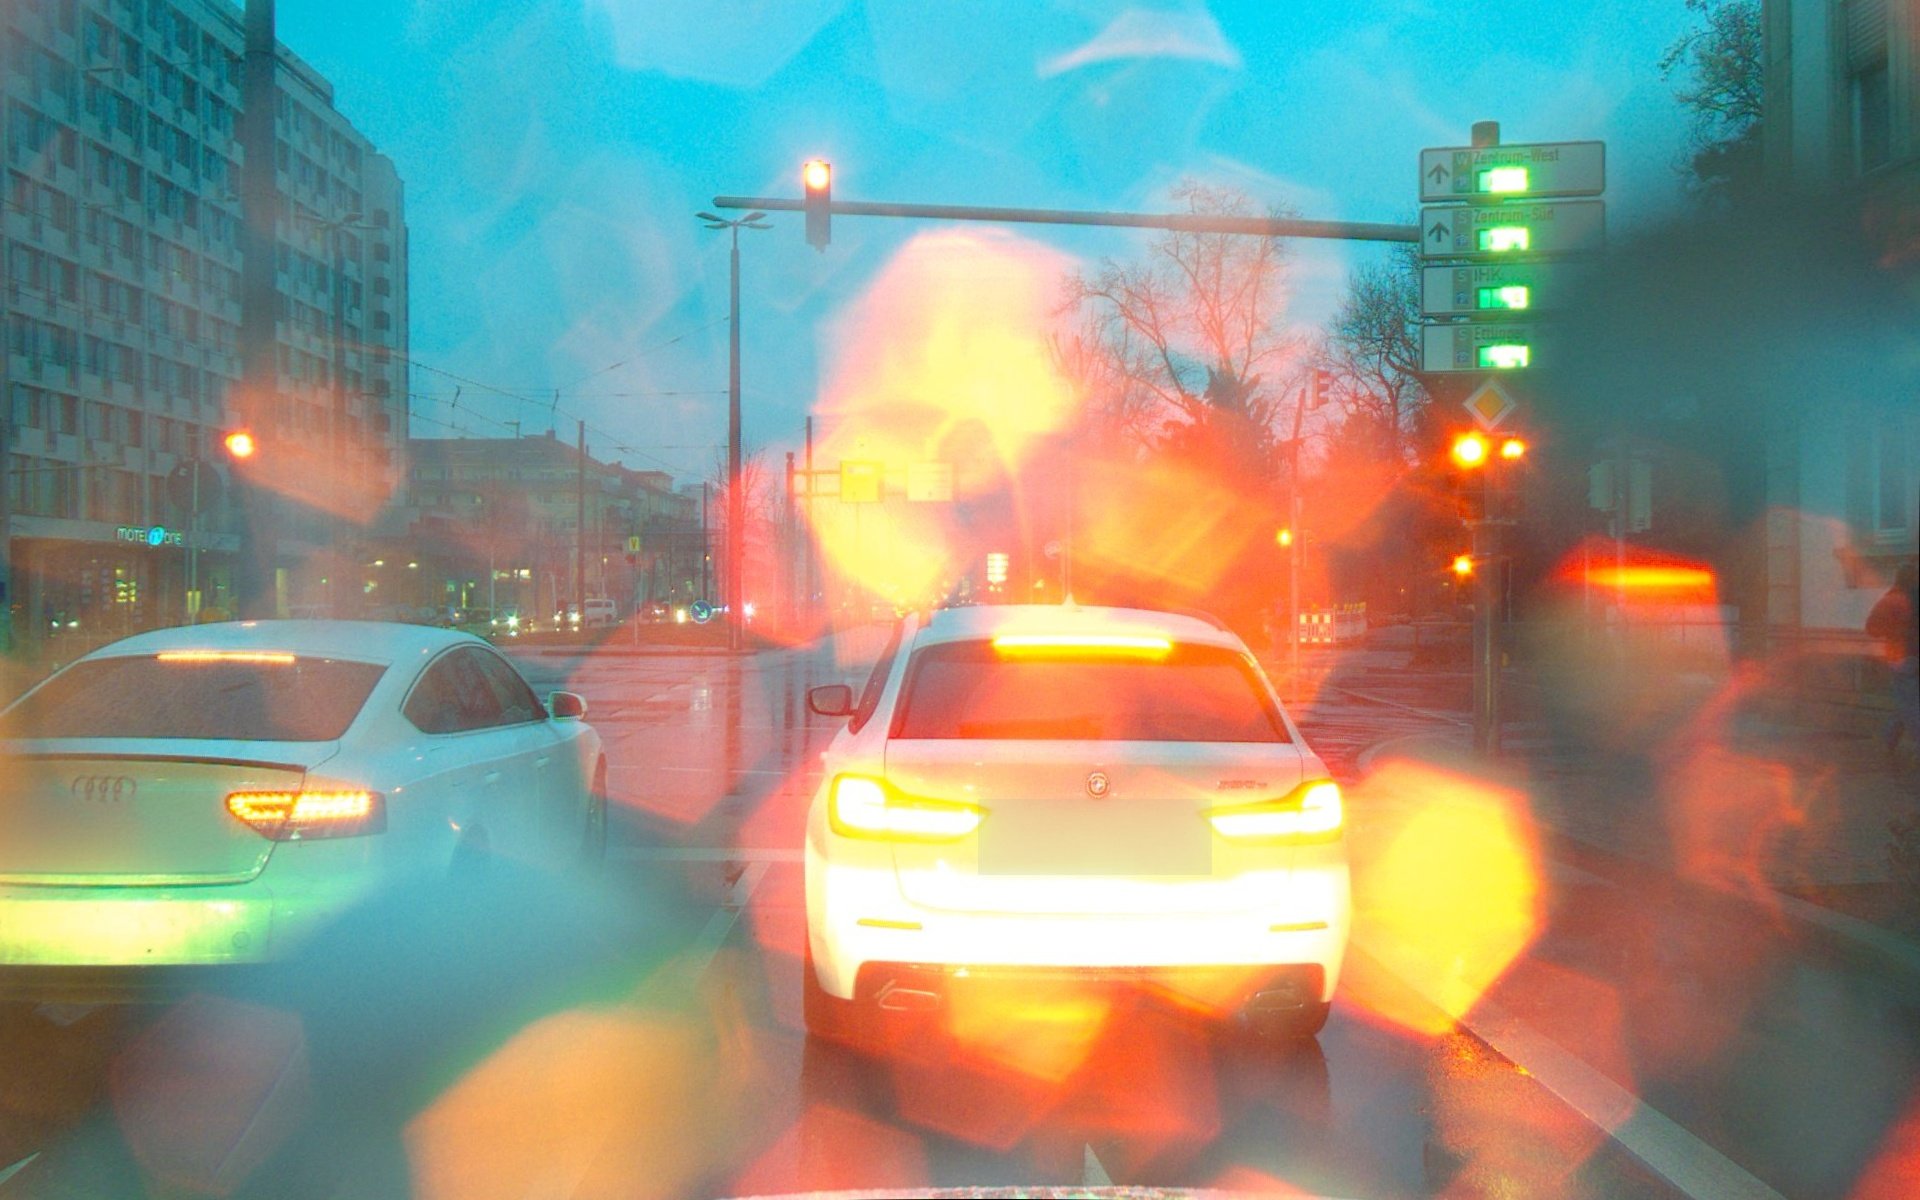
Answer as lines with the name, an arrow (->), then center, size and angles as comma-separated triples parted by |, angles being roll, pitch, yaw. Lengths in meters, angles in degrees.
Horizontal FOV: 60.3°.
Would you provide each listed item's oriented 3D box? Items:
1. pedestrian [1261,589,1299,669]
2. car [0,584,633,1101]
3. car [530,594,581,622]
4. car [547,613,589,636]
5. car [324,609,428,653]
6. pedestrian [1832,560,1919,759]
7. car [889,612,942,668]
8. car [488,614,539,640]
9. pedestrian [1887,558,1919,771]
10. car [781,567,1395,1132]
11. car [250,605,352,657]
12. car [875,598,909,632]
pedestrian -> 7.729, 0.705, 39.973 | 0.661, 1.912, 0.713 | 1, -1, -10
car -> -2.569, 0.713, 6.927 | 1.724, 1.495, 4.249 | 1, 0, -3
car -> -22.393, 0.422, 91.729 | 1.954, 1.487, 5.090 | 1, 0, -5
car -> -27.600, 1.710, 116.507 | 1.954, 1.487, 5.092 | 1, 0, -3
car -> -21.004, 1.095, 59.709 | 1.953, 1.487, 5.094 | 1, 0, -1
pedestrian -> 8.211, 0.508, 14.359 | 0.765, 1.661, 1.011 | 1, 0, 2
car -> -1.676, 1.503, 63.670 | 1.953, 2.049, 3.999 | 1, 0, -1
car -> -27.433, 1.648, 101.694 | 1.954, 1.487, 5.092 | 1, 0, -3
pedestrian -> 7.658, 0.493, 12.534 | 0.765, 1.607, 1.012 | 1, 0, 7
car -> 0.269, 0.719, 6.799 | 1.724, 1.580, 4.249 | 1, 0, -3
car -> -24.161, 1.115, 60.822 | 1.842, 1.821, 4.599 | 1, 0, 1
car -> -4.248, 0.951, 103.761 | 1.953, 2.049, 3.999 | 1, 0, -1
